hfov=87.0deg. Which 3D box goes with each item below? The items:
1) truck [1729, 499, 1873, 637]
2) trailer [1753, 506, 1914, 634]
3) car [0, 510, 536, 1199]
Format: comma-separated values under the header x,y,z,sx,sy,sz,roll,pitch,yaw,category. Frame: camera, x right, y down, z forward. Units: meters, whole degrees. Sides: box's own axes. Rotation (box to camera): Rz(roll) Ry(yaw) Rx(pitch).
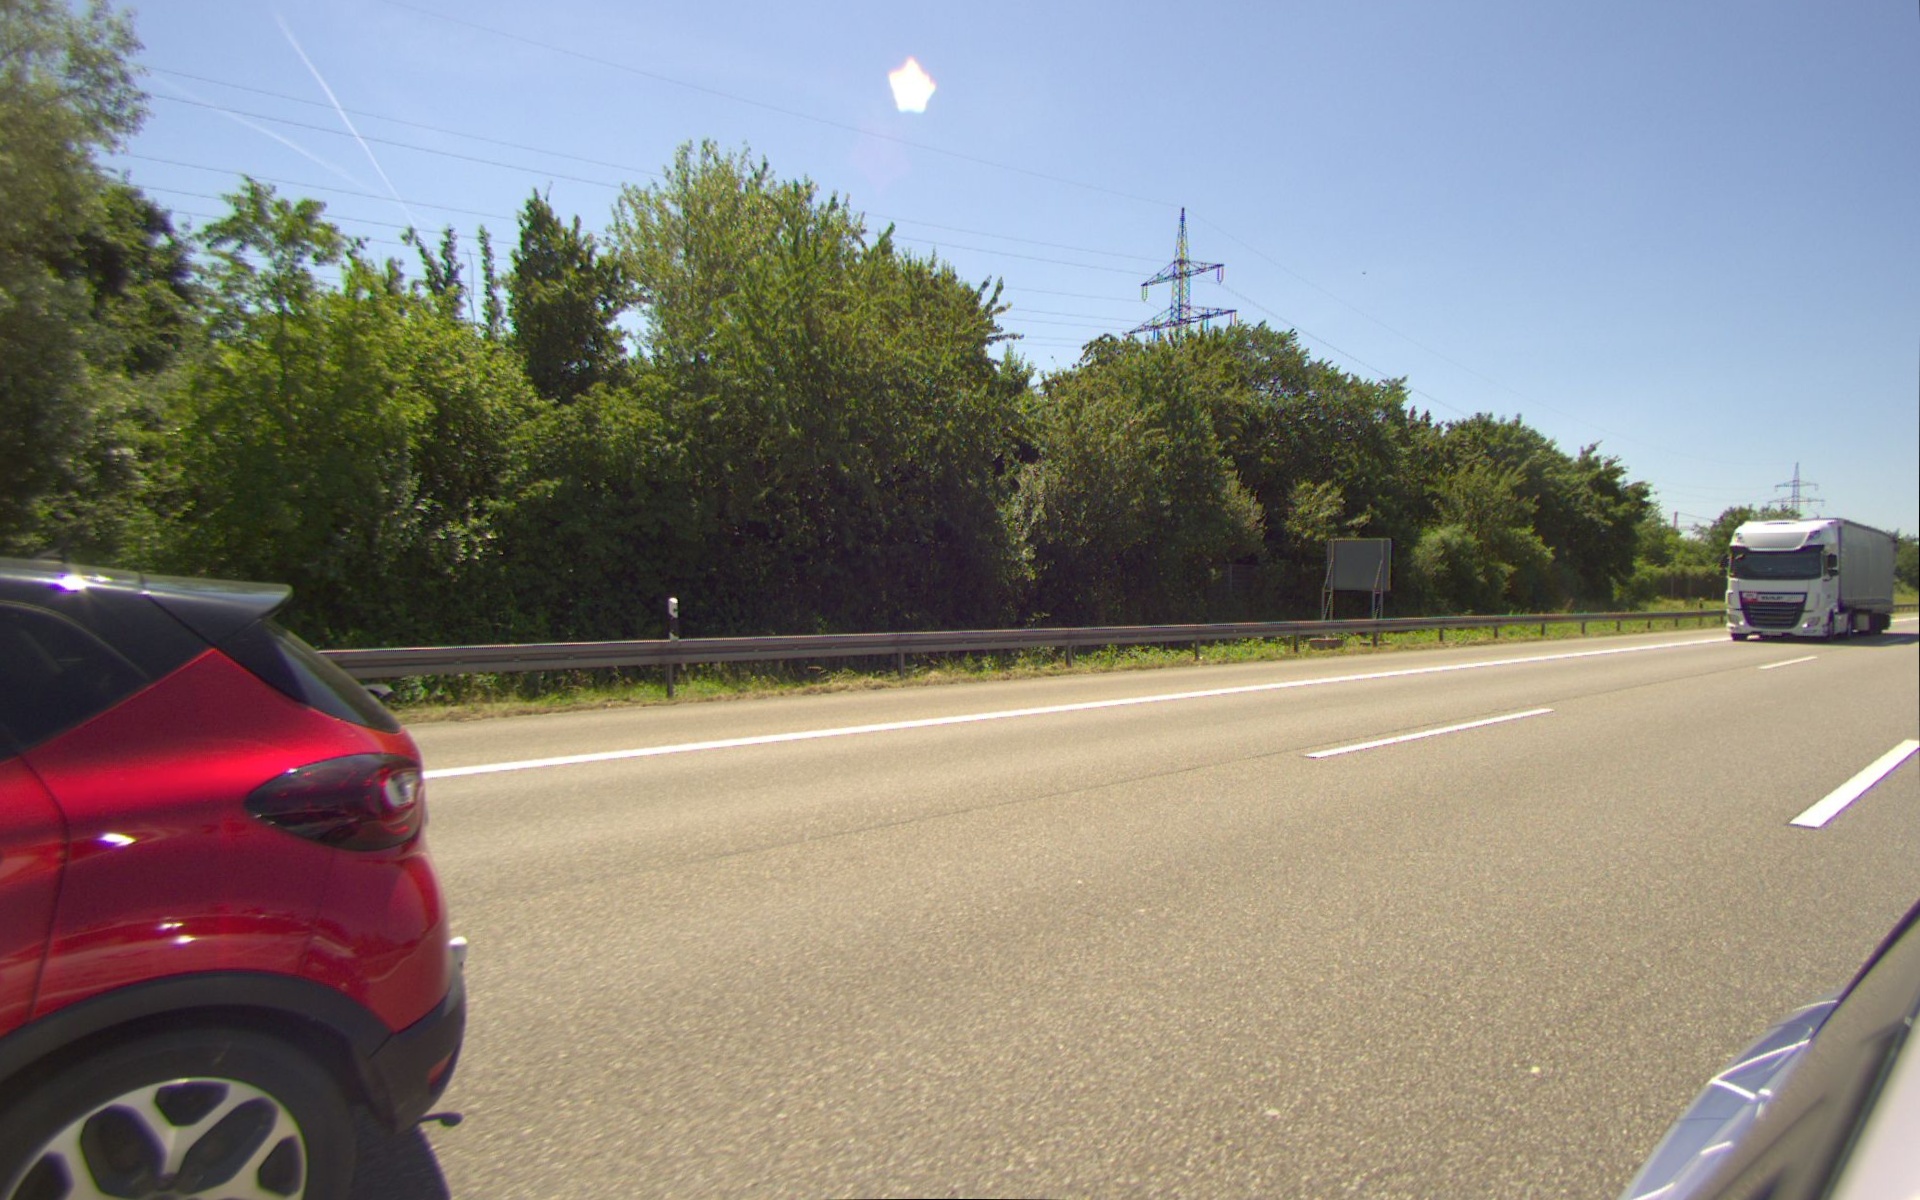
x,y,z,sx,sy,sz,roll,pitch,yaw,category
28.137,-1.008,33.781,6.017,4.171,2.741,0,1,-41,truck
33.163,-1.045,38.137,12.892,4.158,2.741,0,1,-41,trailer
-3.003,0.631,1.646,3.930,1.565,1.807,-1,1,-41,car
